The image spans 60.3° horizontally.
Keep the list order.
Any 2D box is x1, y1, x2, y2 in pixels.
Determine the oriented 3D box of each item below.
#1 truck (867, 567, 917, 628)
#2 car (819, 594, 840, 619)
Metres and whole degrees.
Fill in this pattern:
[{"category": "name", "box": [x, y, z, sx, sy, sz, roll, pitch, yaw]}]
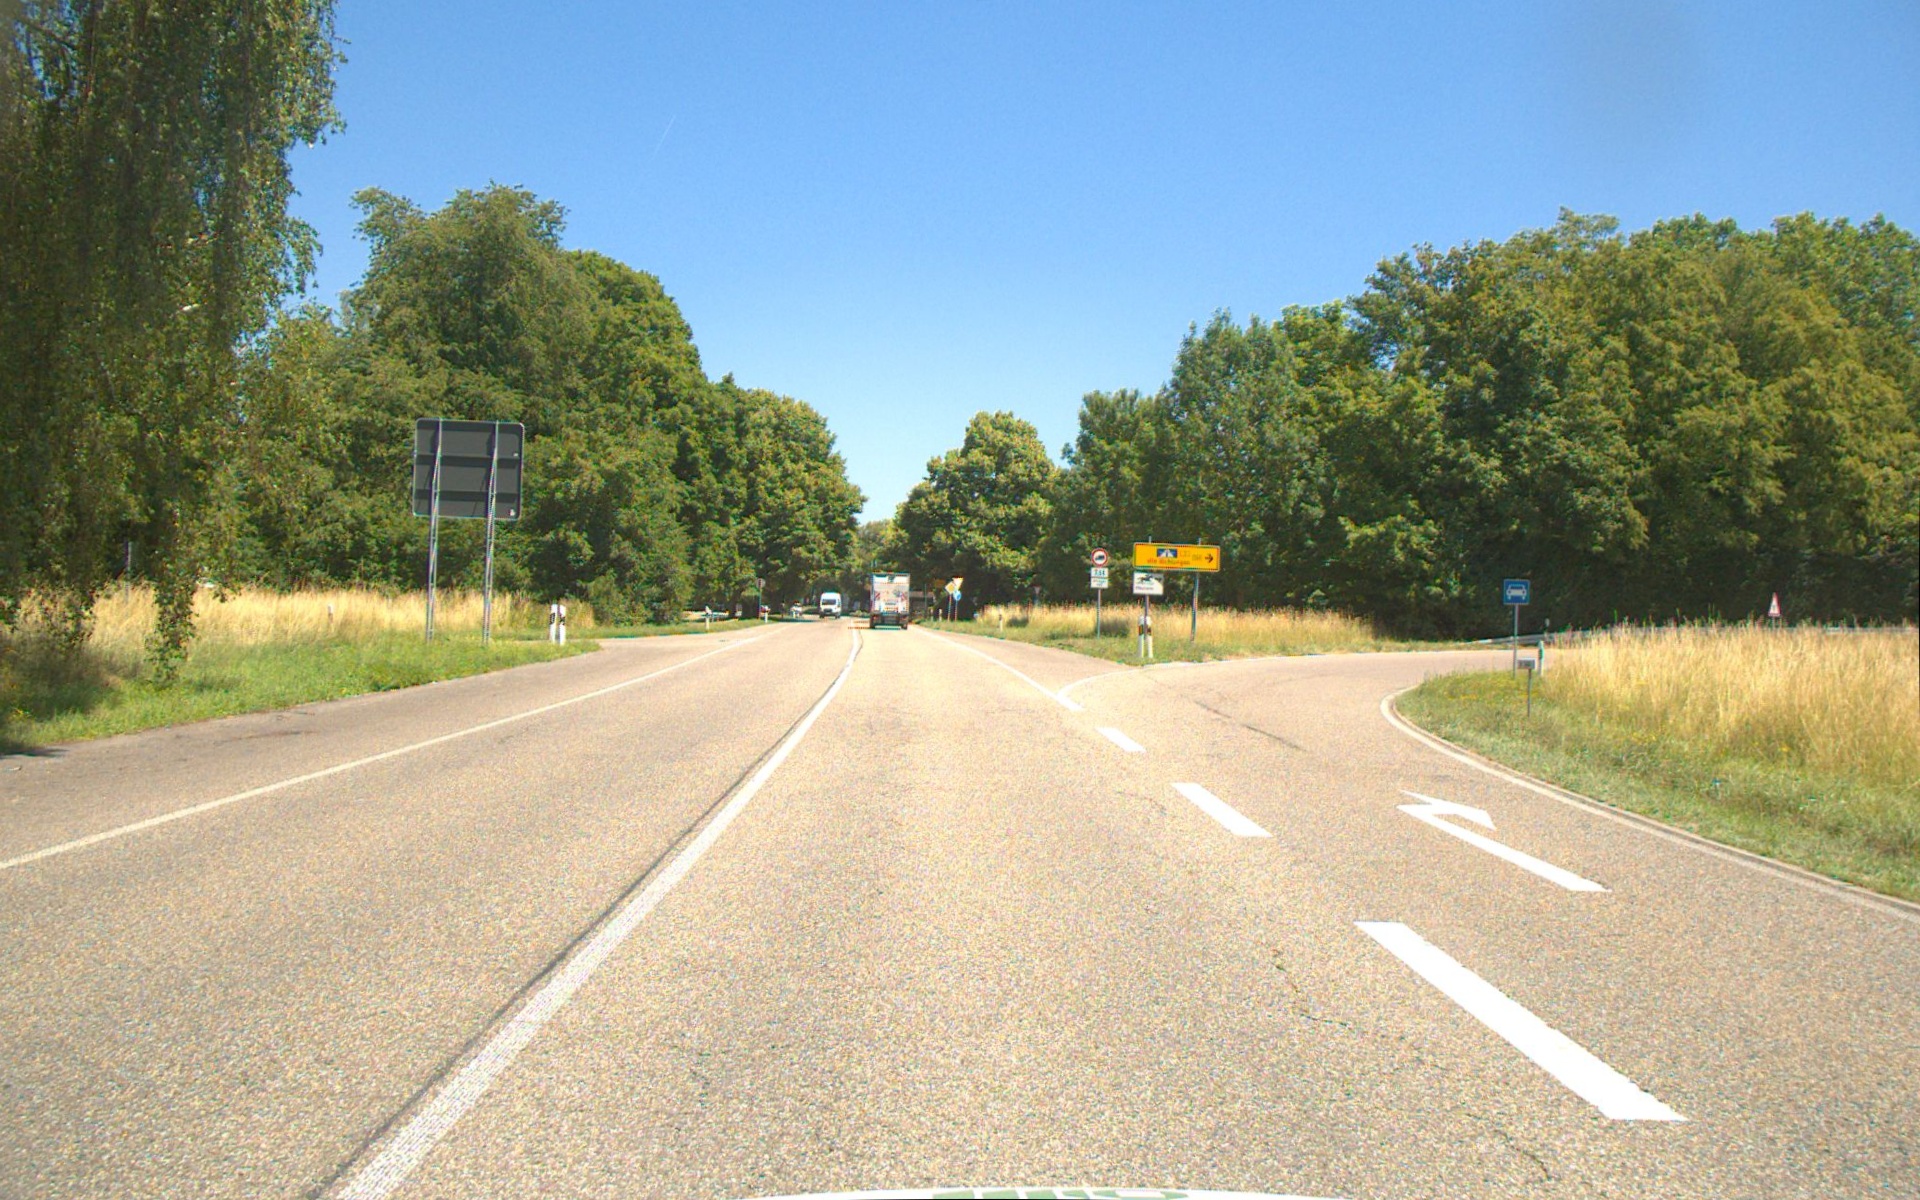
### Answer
[{"category": "truck", "box": [-3.709, -0.158, 91.000, 2.482, 3.190, 5.361, 1, 0, 0]}, {"category": "car", "box": [-14.284, 0.718, 181.581, 2.032, 2.673, 6.780, 1, -1, -3]}]
